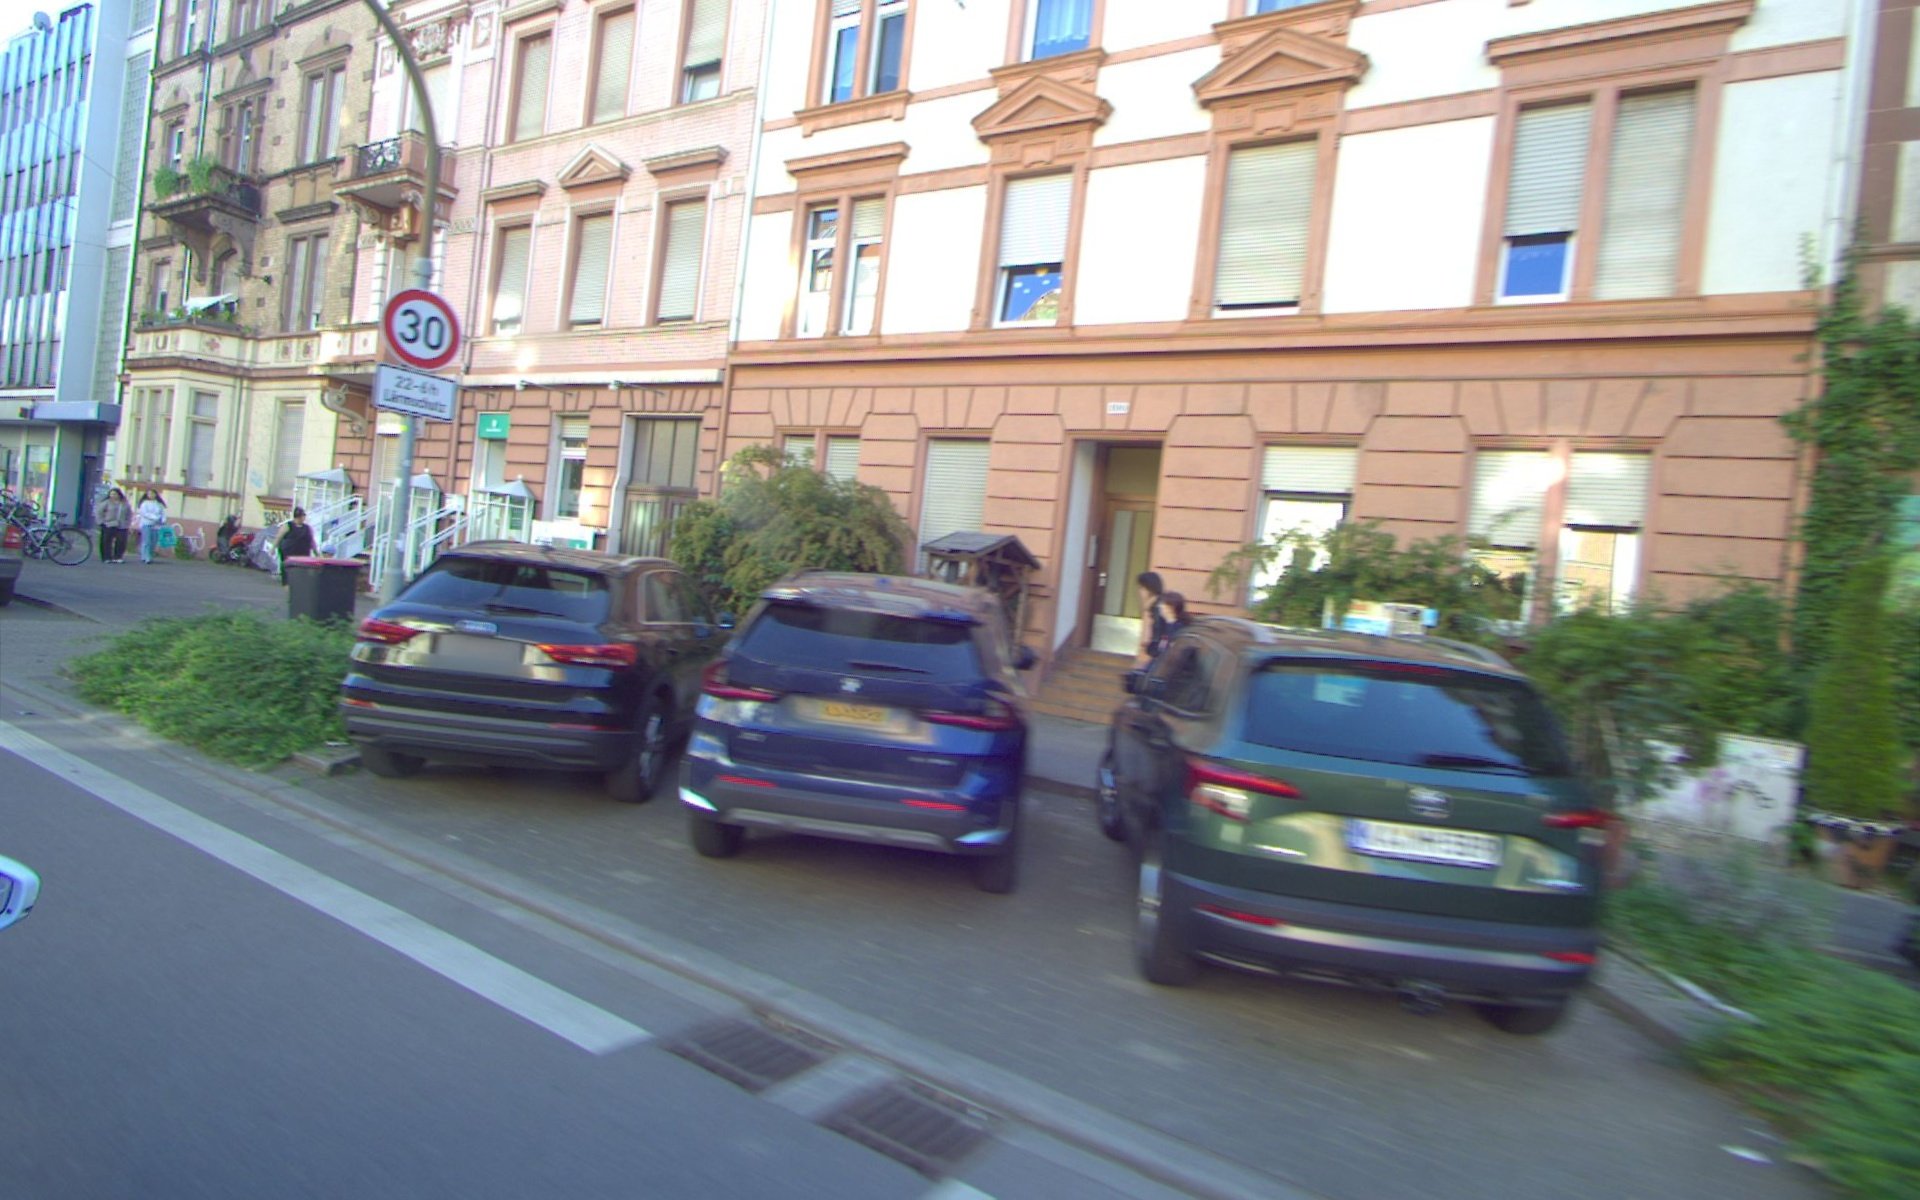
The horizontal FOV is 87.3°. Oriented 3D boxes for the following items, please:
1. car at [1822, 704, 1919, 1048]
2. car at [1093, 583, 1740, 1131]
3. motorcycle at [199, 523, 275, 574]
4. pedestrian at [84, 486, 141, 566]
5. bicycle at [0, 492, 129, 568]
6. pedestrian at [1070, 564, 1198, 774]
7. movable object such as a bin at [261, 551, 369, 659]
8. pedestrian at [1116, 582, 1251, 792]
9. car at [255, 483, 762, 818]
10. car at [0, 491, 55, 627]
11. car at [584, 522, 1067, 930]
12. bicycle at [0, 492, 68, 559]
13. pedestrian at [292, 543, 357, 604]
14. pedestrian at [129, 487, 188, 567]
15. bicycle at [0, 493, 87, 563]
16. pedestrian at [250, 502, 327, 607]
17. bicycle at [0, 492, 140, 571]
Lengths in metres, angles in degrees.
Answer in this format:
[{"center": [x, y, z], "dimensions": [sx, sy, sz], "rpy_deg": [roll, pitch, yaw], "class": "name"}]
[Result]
[{"center": [5.599, 1.424, 3.196], "dimensions": [2.007, 1.615, 4.335], "rpy_deg": [7, -1, 4], "class": "car"}, {"center": [1.803, 0.929, 5.463], "dimensions": [1.922, 1.615, 4.003], "rpy_deg": [7, -1, 7], "class": "car"}, {"center": [-16.753, -1.203, 23.298], "dimensions": [2.477, 1.005, 0.506], "rpy_deg": [6, 4, 32], "class": "motorcycle"}, {"center": [-18.203, -1.589, 21.614], "dimensions": [0.643, 1.629, 0.712], "rpy_deg": [7, 3, 31], "class": "pedestrian"}, {"center": [-18.097, -1.403, 19.791], "dimensions": [0.653, 1.236, 2.543], "rpy_deg": [7, -1, 31], "class": "bicycle"}, {"center": [1.611, 0.624, 9.330], "dimensions": [0.849, 1.800, 0.518], "rpy_deg": [7, 0, 32], "class": "pedestrian"}, {"center": [-6.847, 0.056, 10.682], "dimensions": [0.792, 1.040, 0.605], "rpy_deg": [7, 1, 32], "class": "movable object such as a bin"}, {"center": [1.940, 0.733, 8.736], "dimensions": [0.849, 1.669, 0.518], "rpy_deg": [7, 0, 32], "class": "pedestrian"}, {"center": [-2.898, 0.320, 7.691], "dimensions": [1.946, 1.615, 4.316], "rpy_deg": [7, -1, -3], "class": "car"}, {"center": [-13.738, -0.758, 12.894], "dimensions": [4.641, 1.615, 1.876], "rpy_deg": [6, -1, 32], "class": "car"}, {"center": [-0.438, 0.630, 6.626], "dimensions": [2.048, 1.615, 4.003], "rpy_deg": [7, -1, 7], "class": "car"}, {"center": [-19.936, -1.609, 20.814], "dimensions": [0.653, 1.236, 2.022], "rpy_deg": [7, -1, 31], "class": "bicycle"}, {"center": [-11.021, -0.454, 17.442], "dimensions": [0.643, 0.994, 0.712], "rpy_deg": [7, 4, 31], "class": "pedestrian"}, {"center": [-17.738, -1.609, 22.262], "dimensions": [0.643, 1.626, 0.713], "rpy_deg": [7, 0, 31], "class": "pedestrian"}, {"center": [-19.109, -1.503, 20.335], "dimensions": [0.653, 1.236, 2.022], "rpy_deg": [7, -1, 31], "class": "bicycle"}, {"center": [-11.149, -0.746, 16.703], "dimensions": [0.643, 1.626, 0.713], "rpy_deg": [7, 0, 31], "class": "pedestrian"}, {"center": [-17.034, -1.292, 19.124], "dimensions": [0.652, 1.236, 2.059], "rpy_deg": [7, 0, 29], "class": "bicycle"}]
